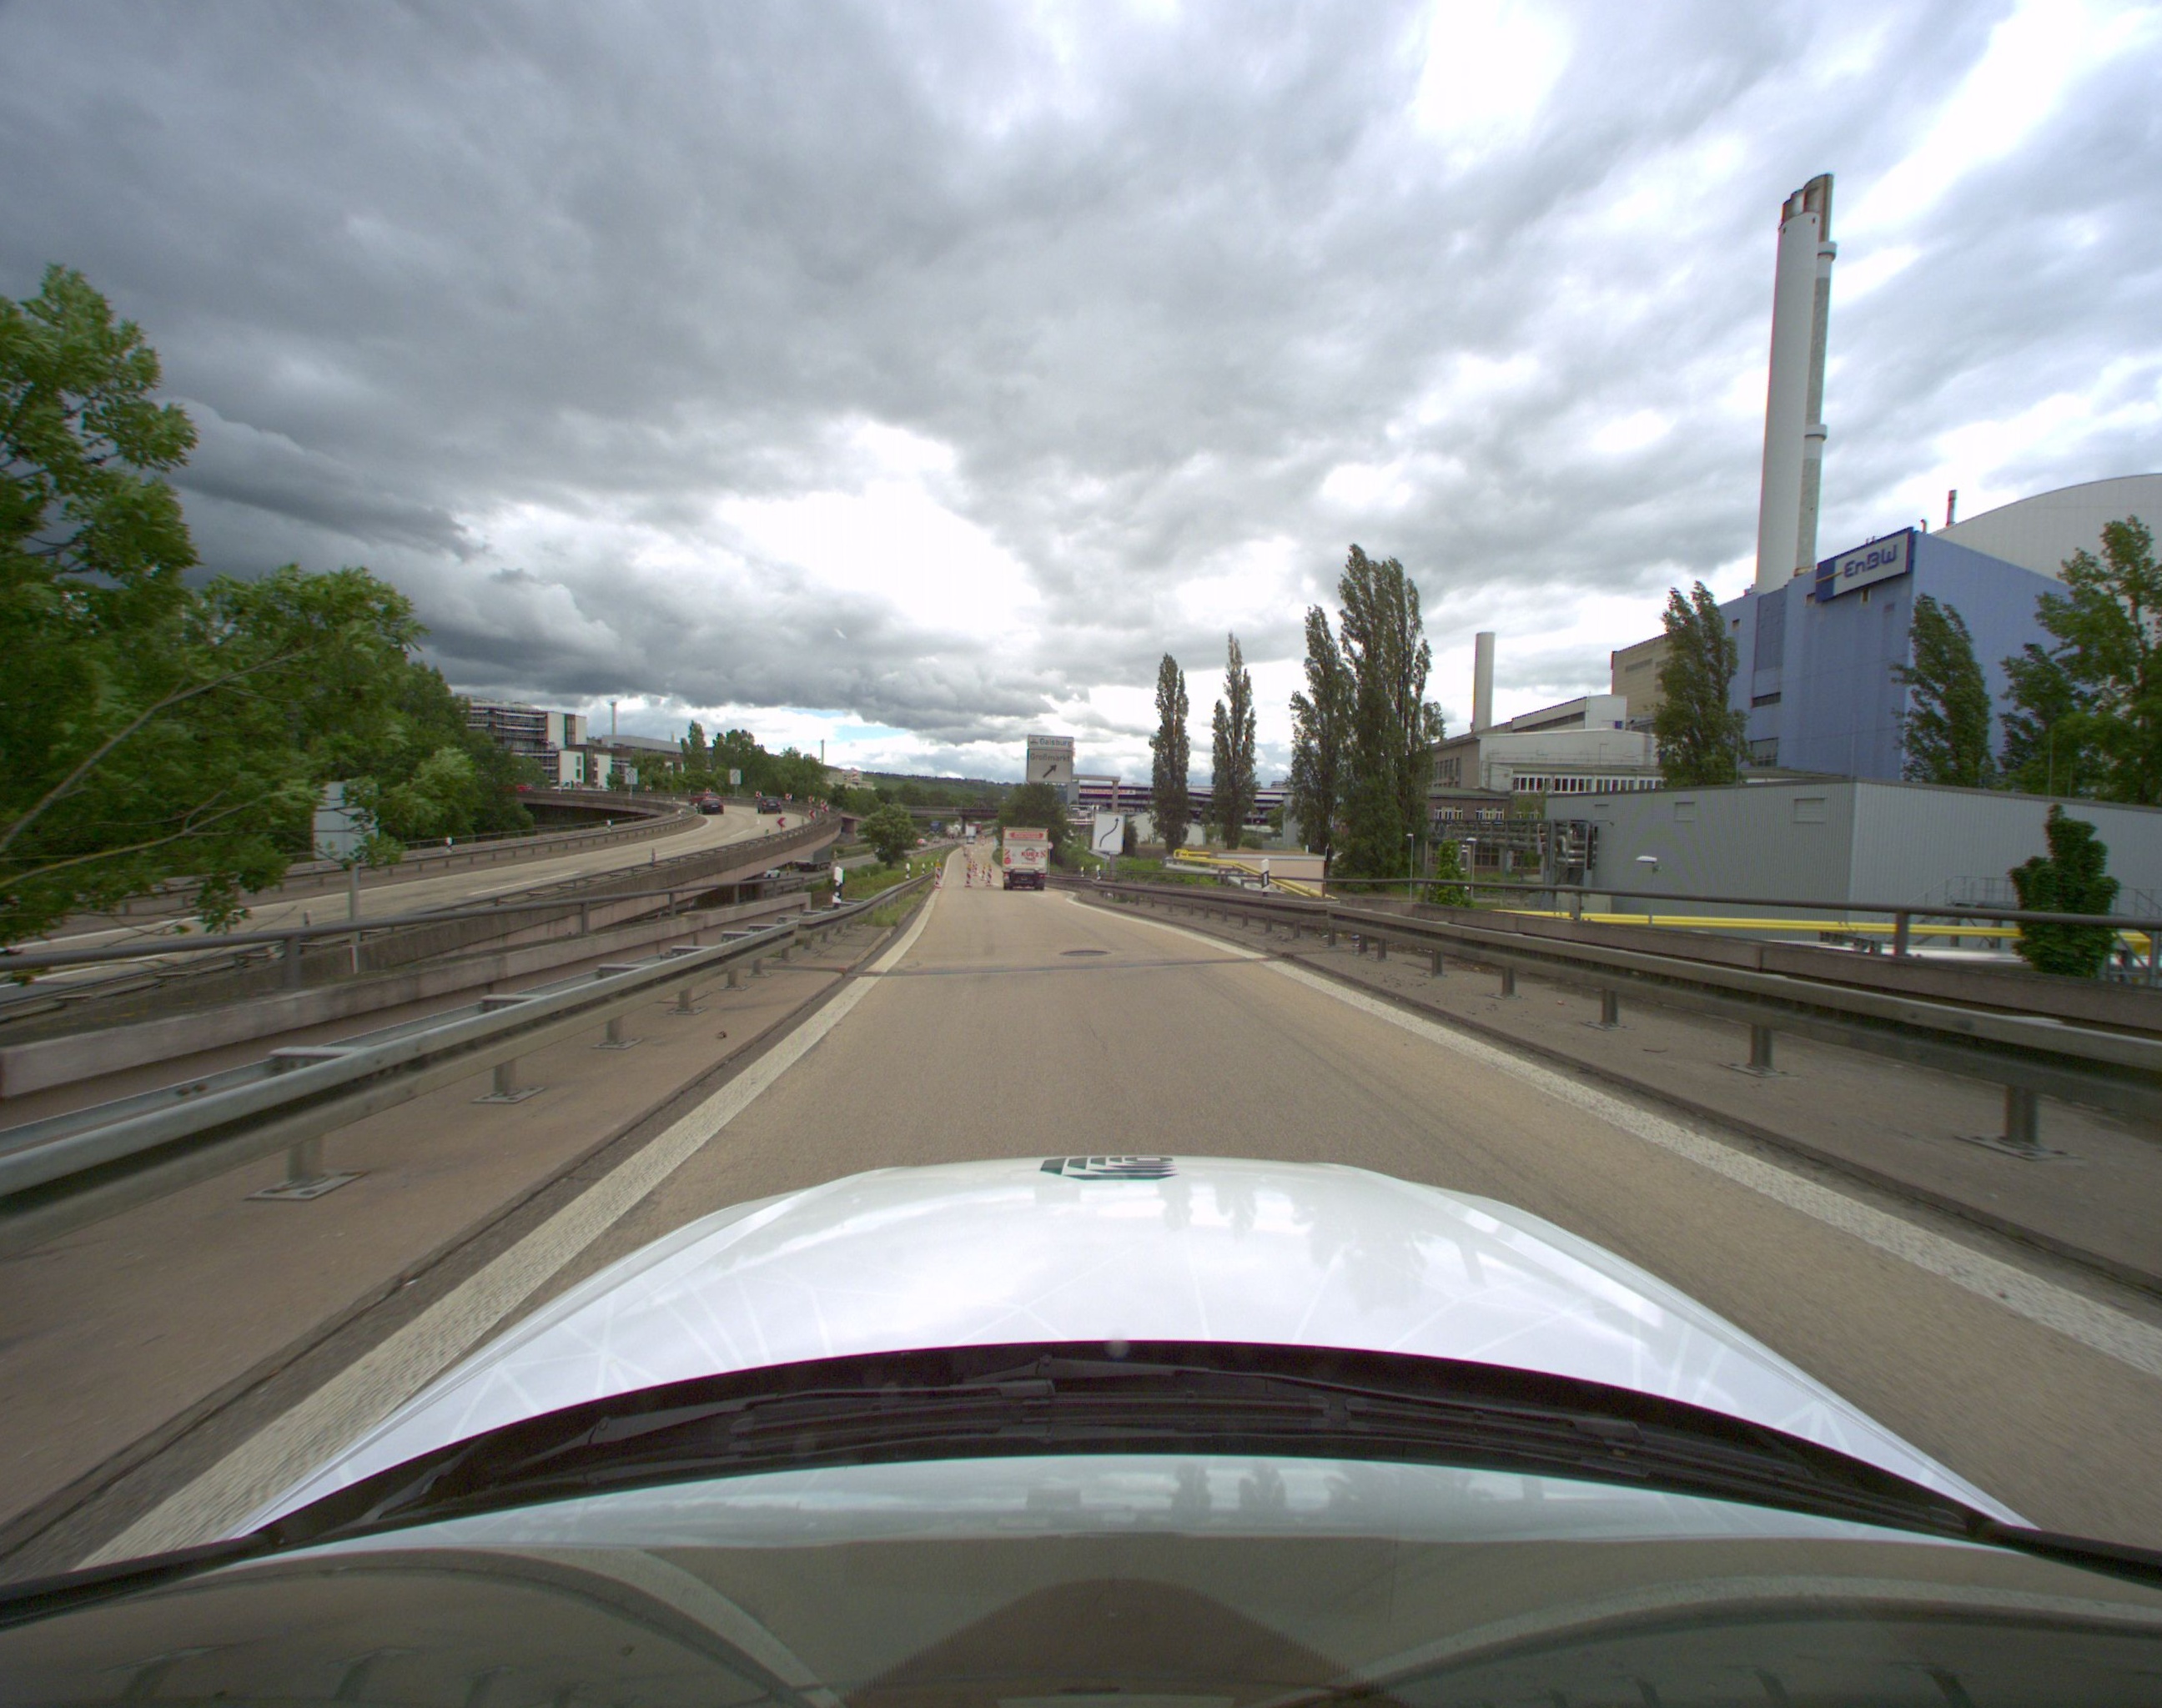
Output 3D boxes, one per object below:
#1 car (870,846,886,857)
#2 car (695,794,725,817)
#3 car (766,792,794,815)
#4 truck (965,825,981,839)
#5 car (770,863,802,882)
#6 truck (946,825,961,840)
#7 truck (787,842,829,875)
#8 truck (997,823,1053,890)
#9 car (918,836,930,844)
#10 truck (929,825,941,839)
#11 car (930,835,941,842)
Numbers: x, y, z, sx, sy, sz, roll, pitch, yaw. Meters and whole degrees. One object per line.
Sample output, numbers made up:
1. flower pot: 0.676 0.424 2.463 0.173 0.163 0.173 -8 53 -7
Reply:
1. car: -34.822 -0.469 139.610 1.990 1.617 3.995 2 2 -4
2. car: -33.575 -4.388 73.696 2.006 1.772 3.961 1 -1 -31
3. car: -27.432 -4.587 74.405 1.997 1.772 3.979 1 -1 -15
4. truck: -29.971 -6.135 226.910 3.275 3.599 7.666 2 2 0
5. car: -31.995 1.963 88.479 1.987 1.712 4.102 2 2 0
6. truck: -34.558 -5.985 221.134 3.280 3.851 7.655 2 2 -4
7. truck: -33.609 0.477 100.494 3.044 3.655 7.388 2 2 -3
8. truck: -3.451 0.193 49.354 3.046 3.673 7.913 2 -1 -5
9. car: -33.852 -2.946 175.440 1.990 1.617 3.995 2 2 -4
10. truck: -45.343 -6.939 252.998 2.744 4.271 5.503 2 2 0
11. car: -34.722 -3.652 194.515 1.990 1.617 3.995 2 2 -4
